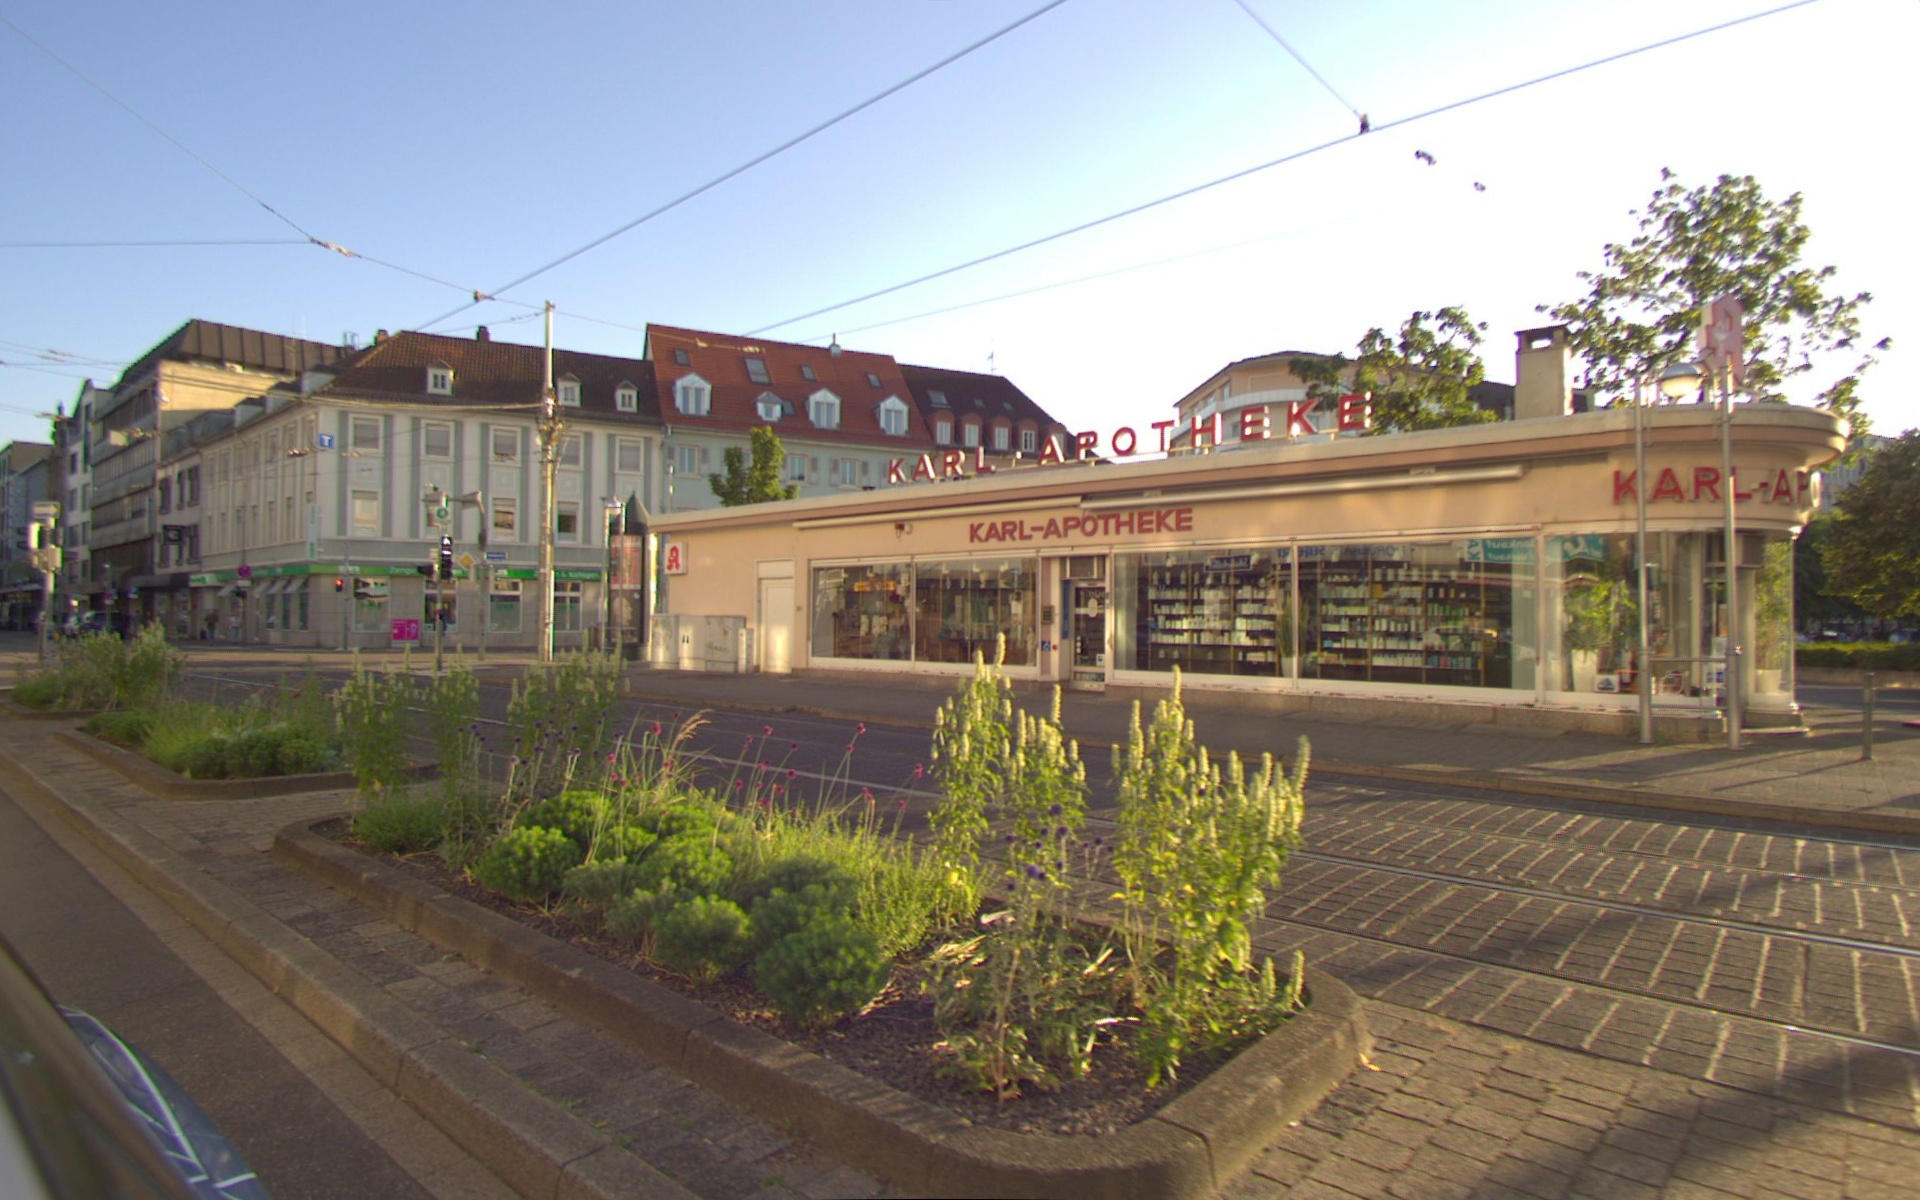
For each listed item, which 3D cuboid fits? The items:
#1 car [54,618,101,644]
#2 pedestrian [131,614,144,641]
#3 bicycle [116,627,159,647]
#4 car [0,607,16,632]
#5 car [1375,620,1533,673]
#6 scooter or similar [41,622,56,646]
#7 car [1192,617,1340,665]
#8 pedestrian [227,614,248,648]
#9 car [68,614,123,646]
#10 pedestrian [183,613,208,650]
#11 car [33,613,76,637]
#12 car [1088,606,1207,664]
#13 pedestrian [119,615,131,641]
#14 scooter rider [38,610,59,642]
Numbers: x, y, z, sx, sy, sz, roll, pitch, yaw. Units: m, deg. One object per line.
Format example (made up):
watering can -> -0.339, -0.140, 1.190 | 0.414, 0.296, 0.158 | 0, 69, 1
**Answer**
car -> -56.987, 1.995, 65.332 | 3.997, 1.636, 1.679 | -1, -2, 40
pedestrian -> -54.836, 1.834, 67.464 | 0.600, 1.747, 0.509 | 1, -1, 41
bicycle -> -42.958, 1.938, 52.864 | 1.715, 1.067, 0.499 | 2, -3, -41
car -> -82.993, 1.677, 87.259 | 3.999, 2.029, 1.972 | 2, 0, 41
car -> 15.418, 1.410, 31.681 | 4.241, 1.419, 1.640 | 2, 0, 35
scooter or similar -> -51.942, 1.915, 57.679 | 1.670, 1.361, 0.538 | -1, -2, 44
car -> 10.713, 1.448, 35.629 | 4.676, 1.577, 1.780 | -2, -3, 39
pedestrian -> -35.174, 1.509, 49.266 | 0.814, 1.653, 0.816 | 0, -1, -33
car -> -52.383, 1.801, 61.303 | 4.127, 1.809, 1.890 | 0, 0, 40
pedestrian -> -36.839, 1.508, 48.788 | 0.813, 1.741, 0.817 | -1, -1, 41
car -> -65.529, 1.811, 73.218 | 3.999, 1.569, 1.796 | 2, 0, 41
car -> 7.160, 1.310, 38.831 | 3.998, 2.029, 1.973 | 2, 0, 41
pedestrian -> -55.243, 1.845, 66.942 | 0.583, 1.697, 0.503 | 1, 0, 40
scooter rider -> -52.085, 1.498, 57.806 | 0.802, 1.821, 0.788 | 2, -2, -45
